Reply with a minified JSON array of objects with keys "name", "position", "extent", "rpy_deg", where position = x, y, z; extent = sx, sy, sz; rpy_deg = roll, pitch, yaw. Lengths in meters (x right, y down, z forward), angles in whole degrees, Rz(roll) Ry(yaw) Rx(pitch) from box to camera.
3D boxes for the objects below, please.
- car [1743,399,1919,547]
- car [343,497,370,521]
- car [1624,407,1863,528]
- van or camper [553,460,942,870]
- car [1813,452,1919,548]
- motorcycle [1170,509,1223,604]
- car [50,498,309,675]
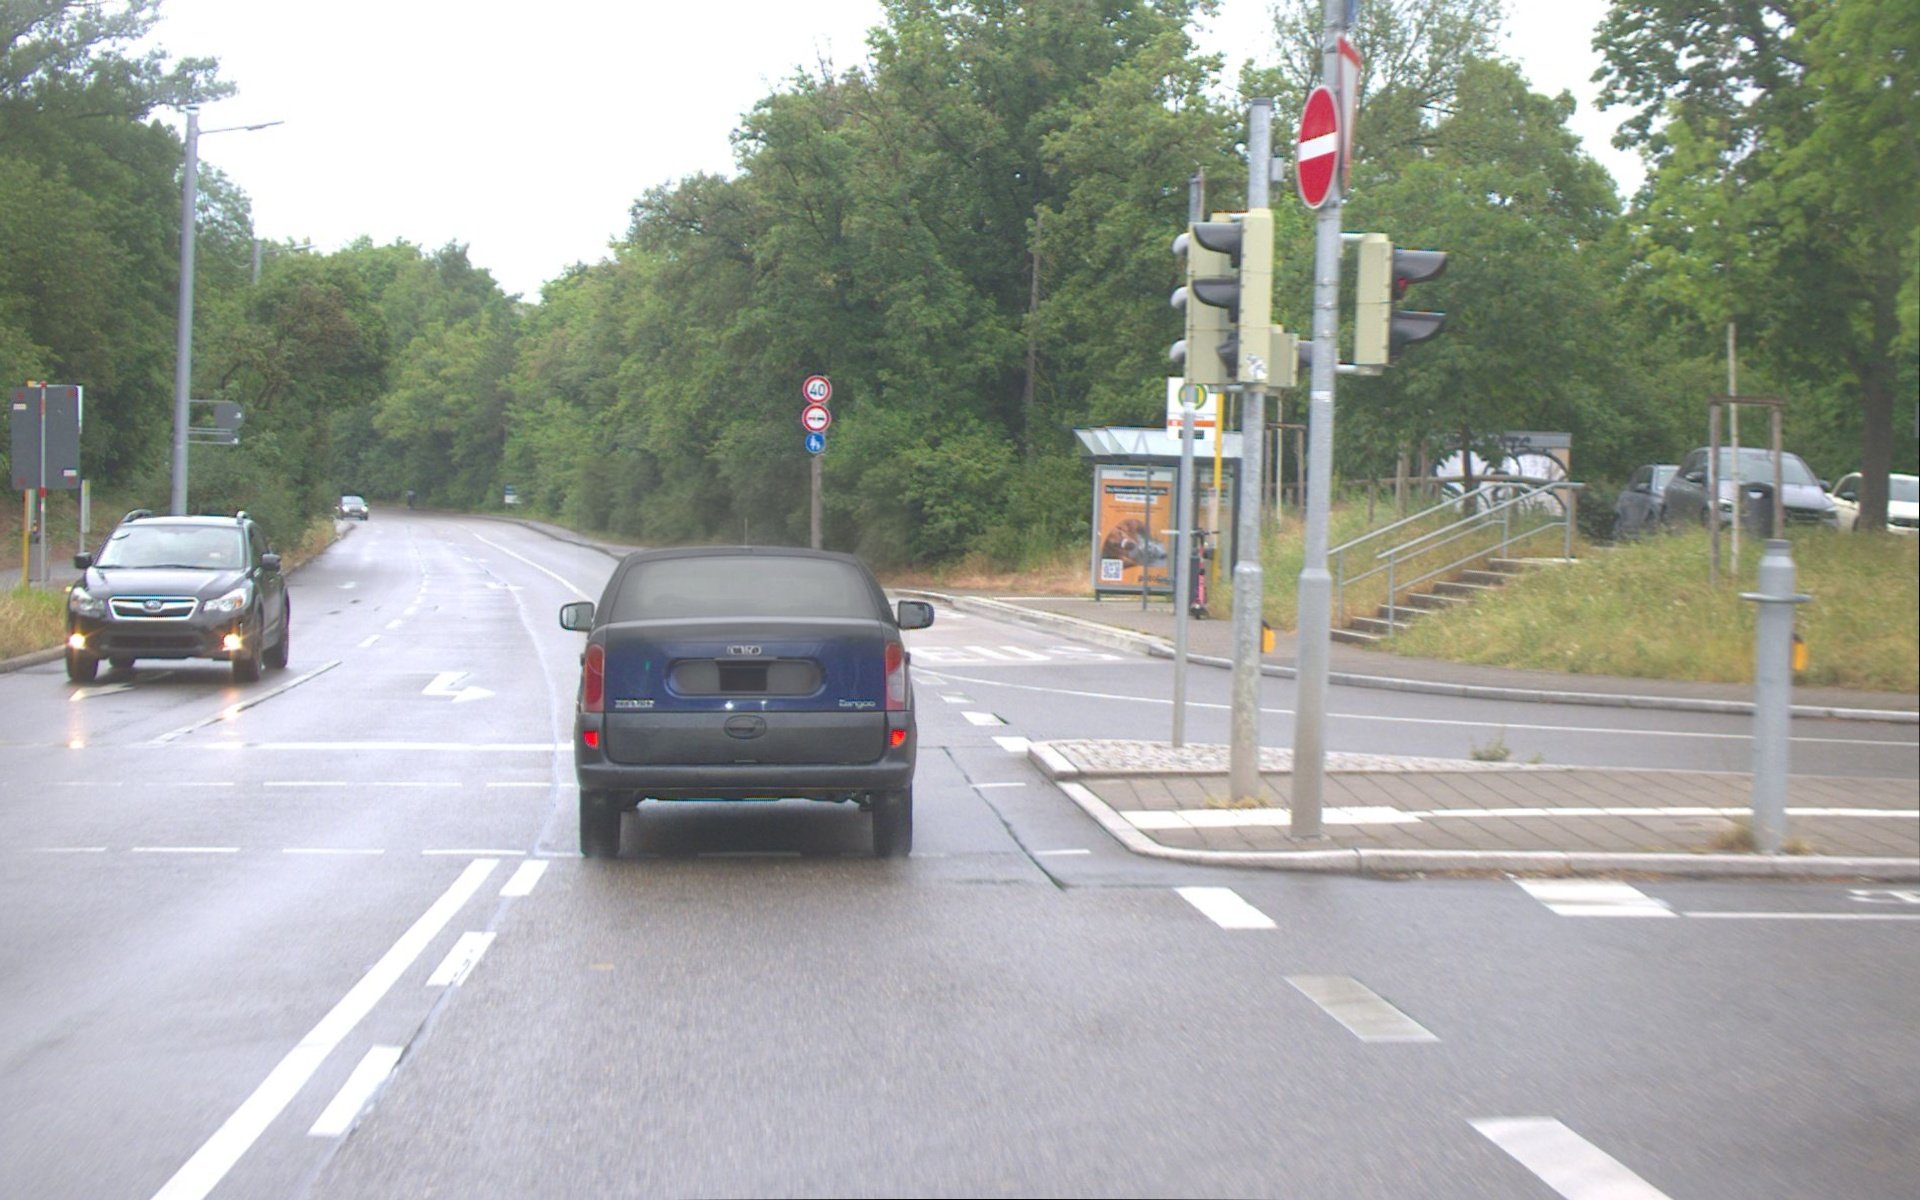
[{"name":"car","position":[11.318,-1.534,42.379],"extent":[1.993,1.656,4.001],"rpy_deg":[4,2,-5]},{"name":"car","position":[-37.469,-5.637,213.384],"extent":[1.598,1.436,3.992],"rpy_deg":[0,2,-10]},{"name":"car","position":[10.917,-1.818,48.234],"extent":[1.993,1.475,4.285],"rpy_deg":[4,1,-5]},{"name":"van or camper","position":[-1.162,0.250,17.801],"extent":[1.712,1.819,4.001],"rpy_deg":[2,1,-5]},{"name":"car","position":[16.169,-1.691,59.174],"extent":[1.885,1.475,4.069],"rpy_deg":[4,1,0]},{"name":"motorcycle","position":[3.321,-0.620,48.224],"extent":[0.589,1.284,1.537],"rpy_deg":[1,2,9]},{"name":"car","position":[-7.524,-0.185,33.531],"extent":[1.789,1.576,4.562],"rpy_deg":[1,2,-4]}]
